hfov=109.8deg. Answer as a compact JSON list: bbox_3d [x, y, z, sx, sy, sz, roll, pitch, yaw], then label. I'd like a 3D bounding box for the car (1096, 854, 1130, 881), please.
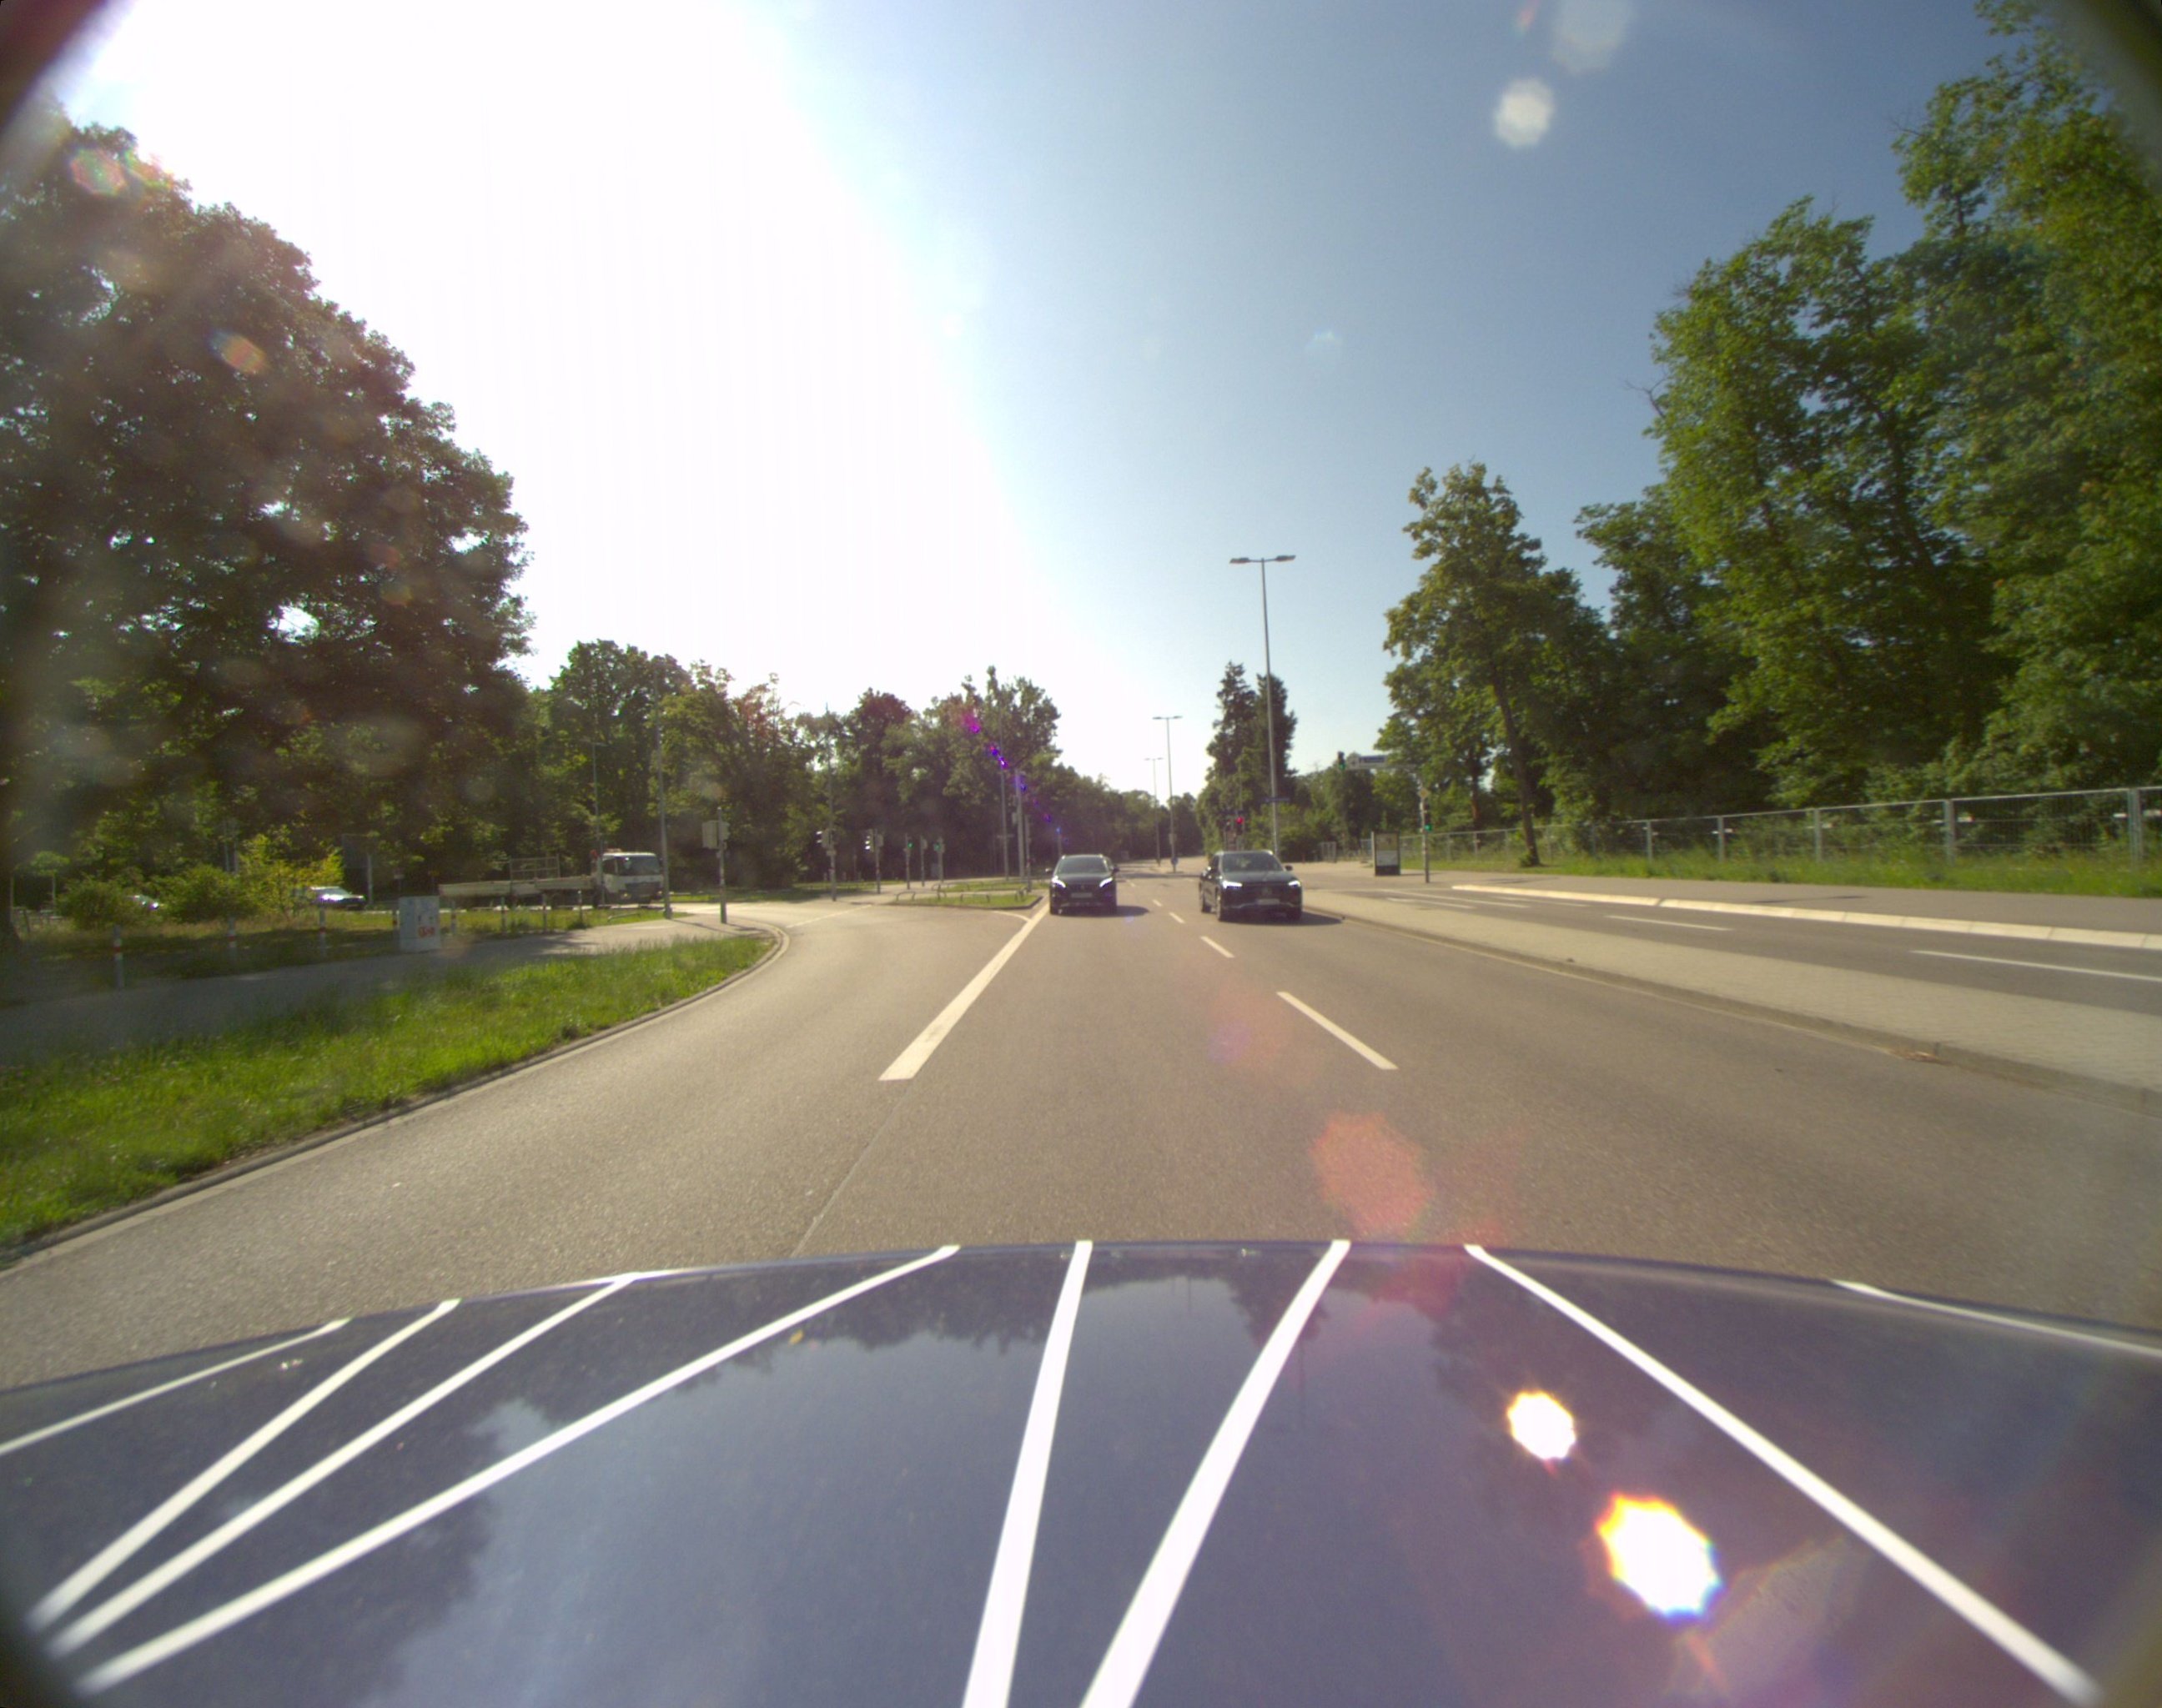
[{"bbox_3d":[1.937,0.790,46.697,1.933,1.499,4.000,-2,0,1],"label":"car"}]

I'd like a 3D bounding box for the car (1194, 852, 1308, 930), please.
[{"bbox_3d":[3.941,0.785,18.329,1.809,1.587,4.273,-2,0,1],"label":"car"}]

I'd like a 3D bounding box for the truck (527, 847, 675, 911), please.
[{"bbox_3d":[-22.580,1.171,35.750,6.189,2.702,2.684,-3,1,23],"label":"truck"}]

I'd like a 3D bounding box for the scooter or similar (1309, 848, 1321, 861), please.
[{"bbox_3d":[23.416,0.058,76.047,1.082,1.215,0.395,-3,0,-22],"label":"scooter or similar"}]

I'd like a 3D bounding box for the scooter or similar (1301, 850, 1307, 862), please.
[{"bbox_3d":[22.352,0.186,76.156,0.395,1.139,1.197,-2,0,7],"label":"scooter or similar"}]

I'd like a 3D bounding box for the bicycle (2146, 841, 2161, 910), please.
[{"bbox_3d":[18.263,0.340,11.829,0.661,1.129,1.878,-4,0,-1],"label":"bicycle"}]

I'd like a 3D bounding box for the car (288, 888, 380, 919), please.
[{"bbox_3d":[-41.206,2.723,41.933,3.992,1.475,1.849,-2,0,17],"label":"car"}]

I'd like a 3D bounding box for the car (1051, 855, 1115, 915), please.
[{"bbox_3d":[0.140,0.859,23.230,1.702,1.581,4.320,-2,0,2],"label":"car"}]

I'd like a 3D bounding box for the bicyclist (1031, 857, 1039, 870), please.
[{"bbox_3d":[-5.806,1.224,96.278,0.725,1.629,1.058,-2,0,5],"label":"bicyclist"}]

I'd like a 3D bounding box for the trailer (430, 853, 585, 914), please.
[{"bbox_3d":[-28.666,1.463,38.018,6.874,2.672,2.707,-3,0,19],"label":"trailer"}]

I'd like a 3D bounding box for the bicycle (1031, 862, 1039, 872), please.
[{"bbox_3d":[-5.808,1.595,96.290,0.725,1.192,2.101,-2,0,5],"label":"bicycle"}]
